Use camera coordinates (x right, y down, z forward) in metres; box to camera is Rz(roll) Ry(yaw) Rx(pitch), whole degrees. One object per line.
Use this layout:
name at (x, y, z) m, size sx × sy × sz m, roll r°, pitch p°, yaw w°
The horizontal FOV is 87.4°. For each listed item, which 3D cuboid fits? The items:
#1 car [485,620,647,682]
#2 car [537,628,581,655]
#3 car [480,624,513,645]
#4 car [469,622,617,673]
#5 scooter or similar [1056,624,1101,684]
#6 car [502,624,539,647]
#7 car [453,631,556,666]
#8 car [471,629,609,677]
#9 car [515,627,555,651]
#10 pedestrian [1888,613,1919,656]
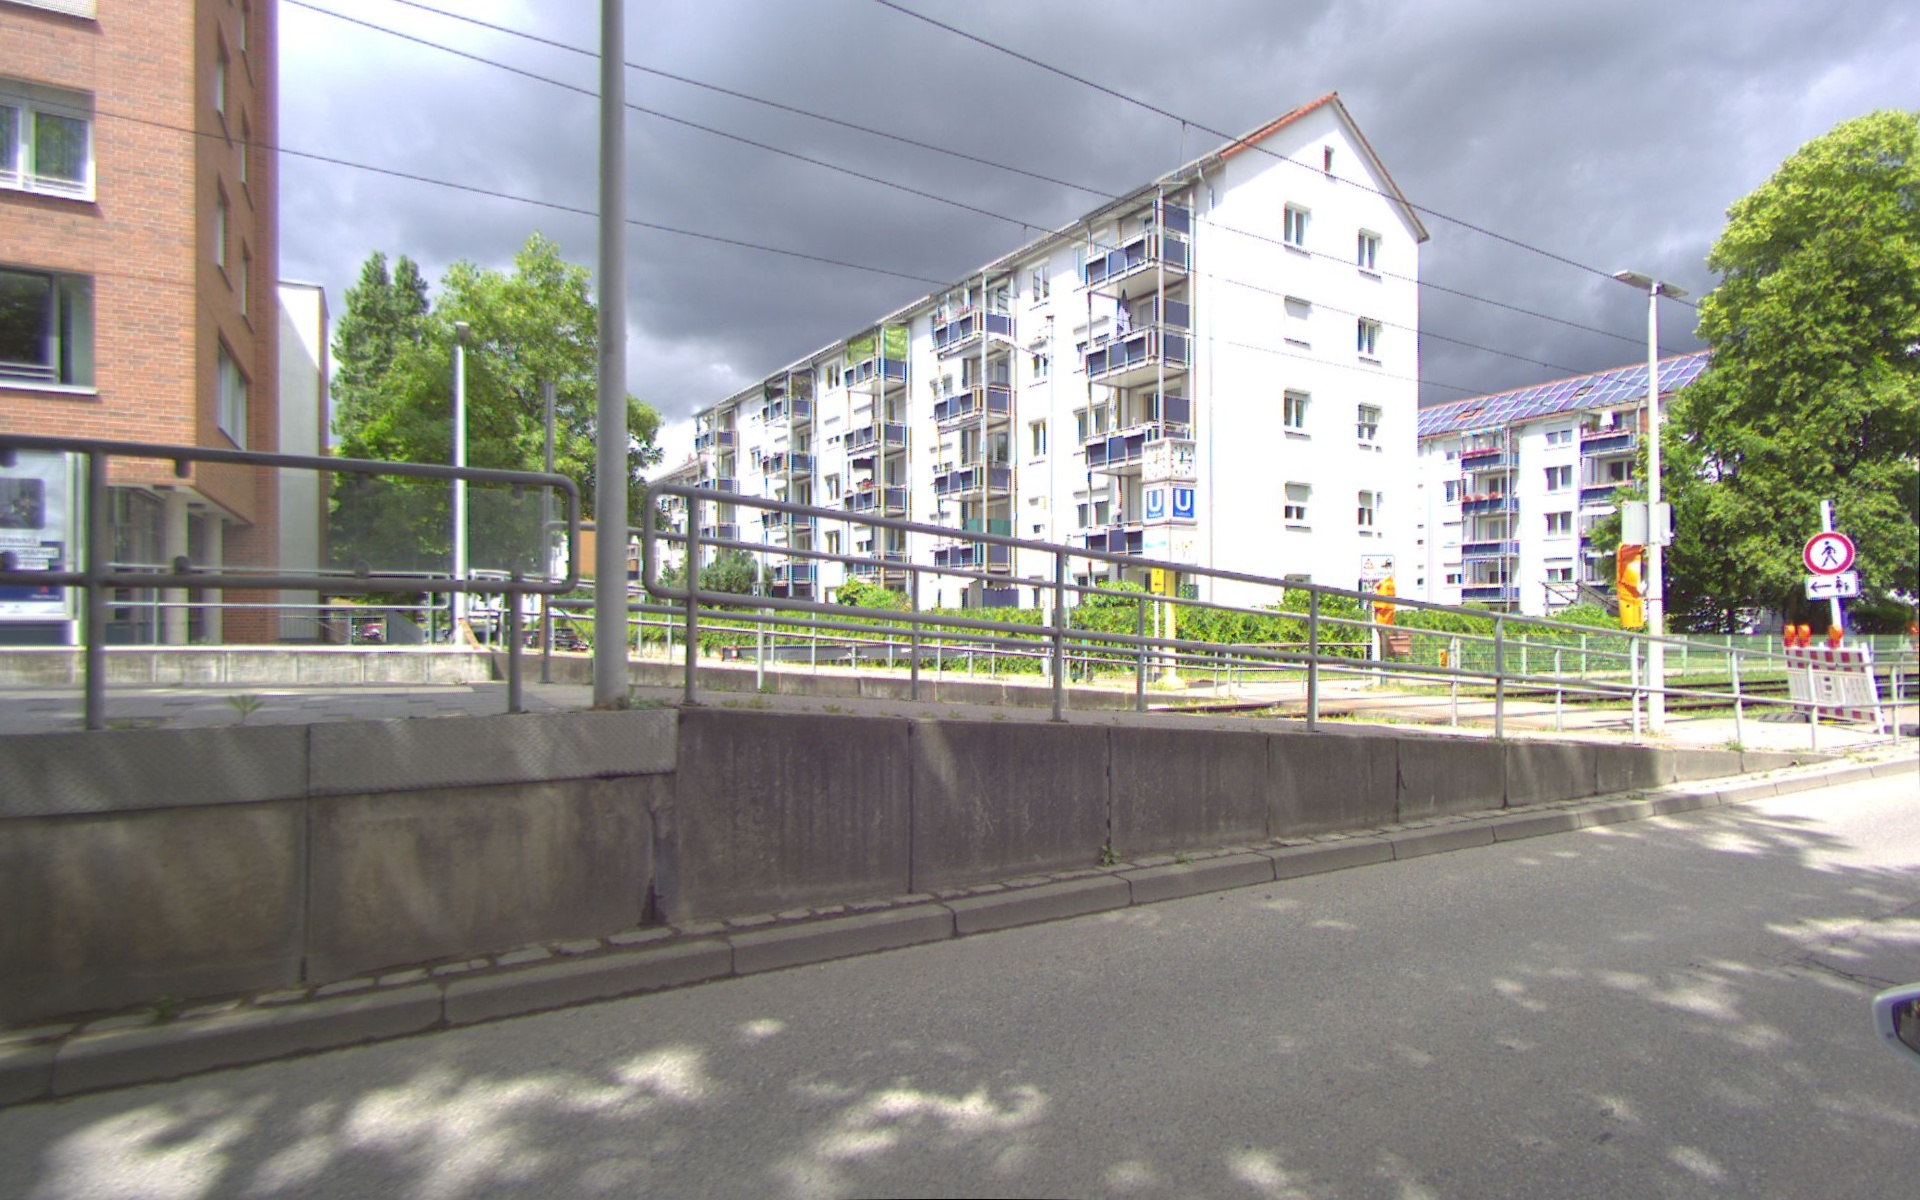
car at (-10.811, 1.364, 27.569) m, size 3.950 × 1.572 × 1.887 m, roll 1°, pitch -2°, yaw -28°
car at (-23.702, 2.423, 59.305) m, size 1.915 × 1.505 × 3.968 m, roll 1°, pitch -1°, yaw -30°
car at (-35.742, 2.644, 77.388) m, size 1.915 × 1.505 × 3.968 m, roll 1°, pitch -1°, yaw -30°
car at (-12.448, 1.396, 30.002) m, size 3.948 × 1.445 × 1.837 m, roll 1°, pitch -2°, yaw -27°
scooter or similar at (2.575, 1.163, 21.952) m, size 0.458 × 1.270 × 1.295 m, roll 1°, pitch -1°, yaw -20°
car at (-30.366, 2.446, 69.400) m, size 1.915 × 1.505 × 3.968 m, roll 1°, pitch -1°, yaw -30°
car at (-19.602, 2.064, 43.286) m, size 3.948 × 1.445 × 1.837 m, roll 1°, pitch -2°, yaw -27°
car at (-13.422, 1.644, 32.110) m, size 3.948 × 1.445 × 1.837 m, roll 1°, pitch -2°, yaw -27°
car at (-27.390, 2.487, 64.700) m, size 1.915 × 1.505 × 3.968 m, roll 1°, pitch -1°, yaw -30°
pedestrian at (36.671, 1.345, 38.986) m, size 0.857 × 1.647 × 0.728 m, roll 1°, pitch 0°, yaw -30°
